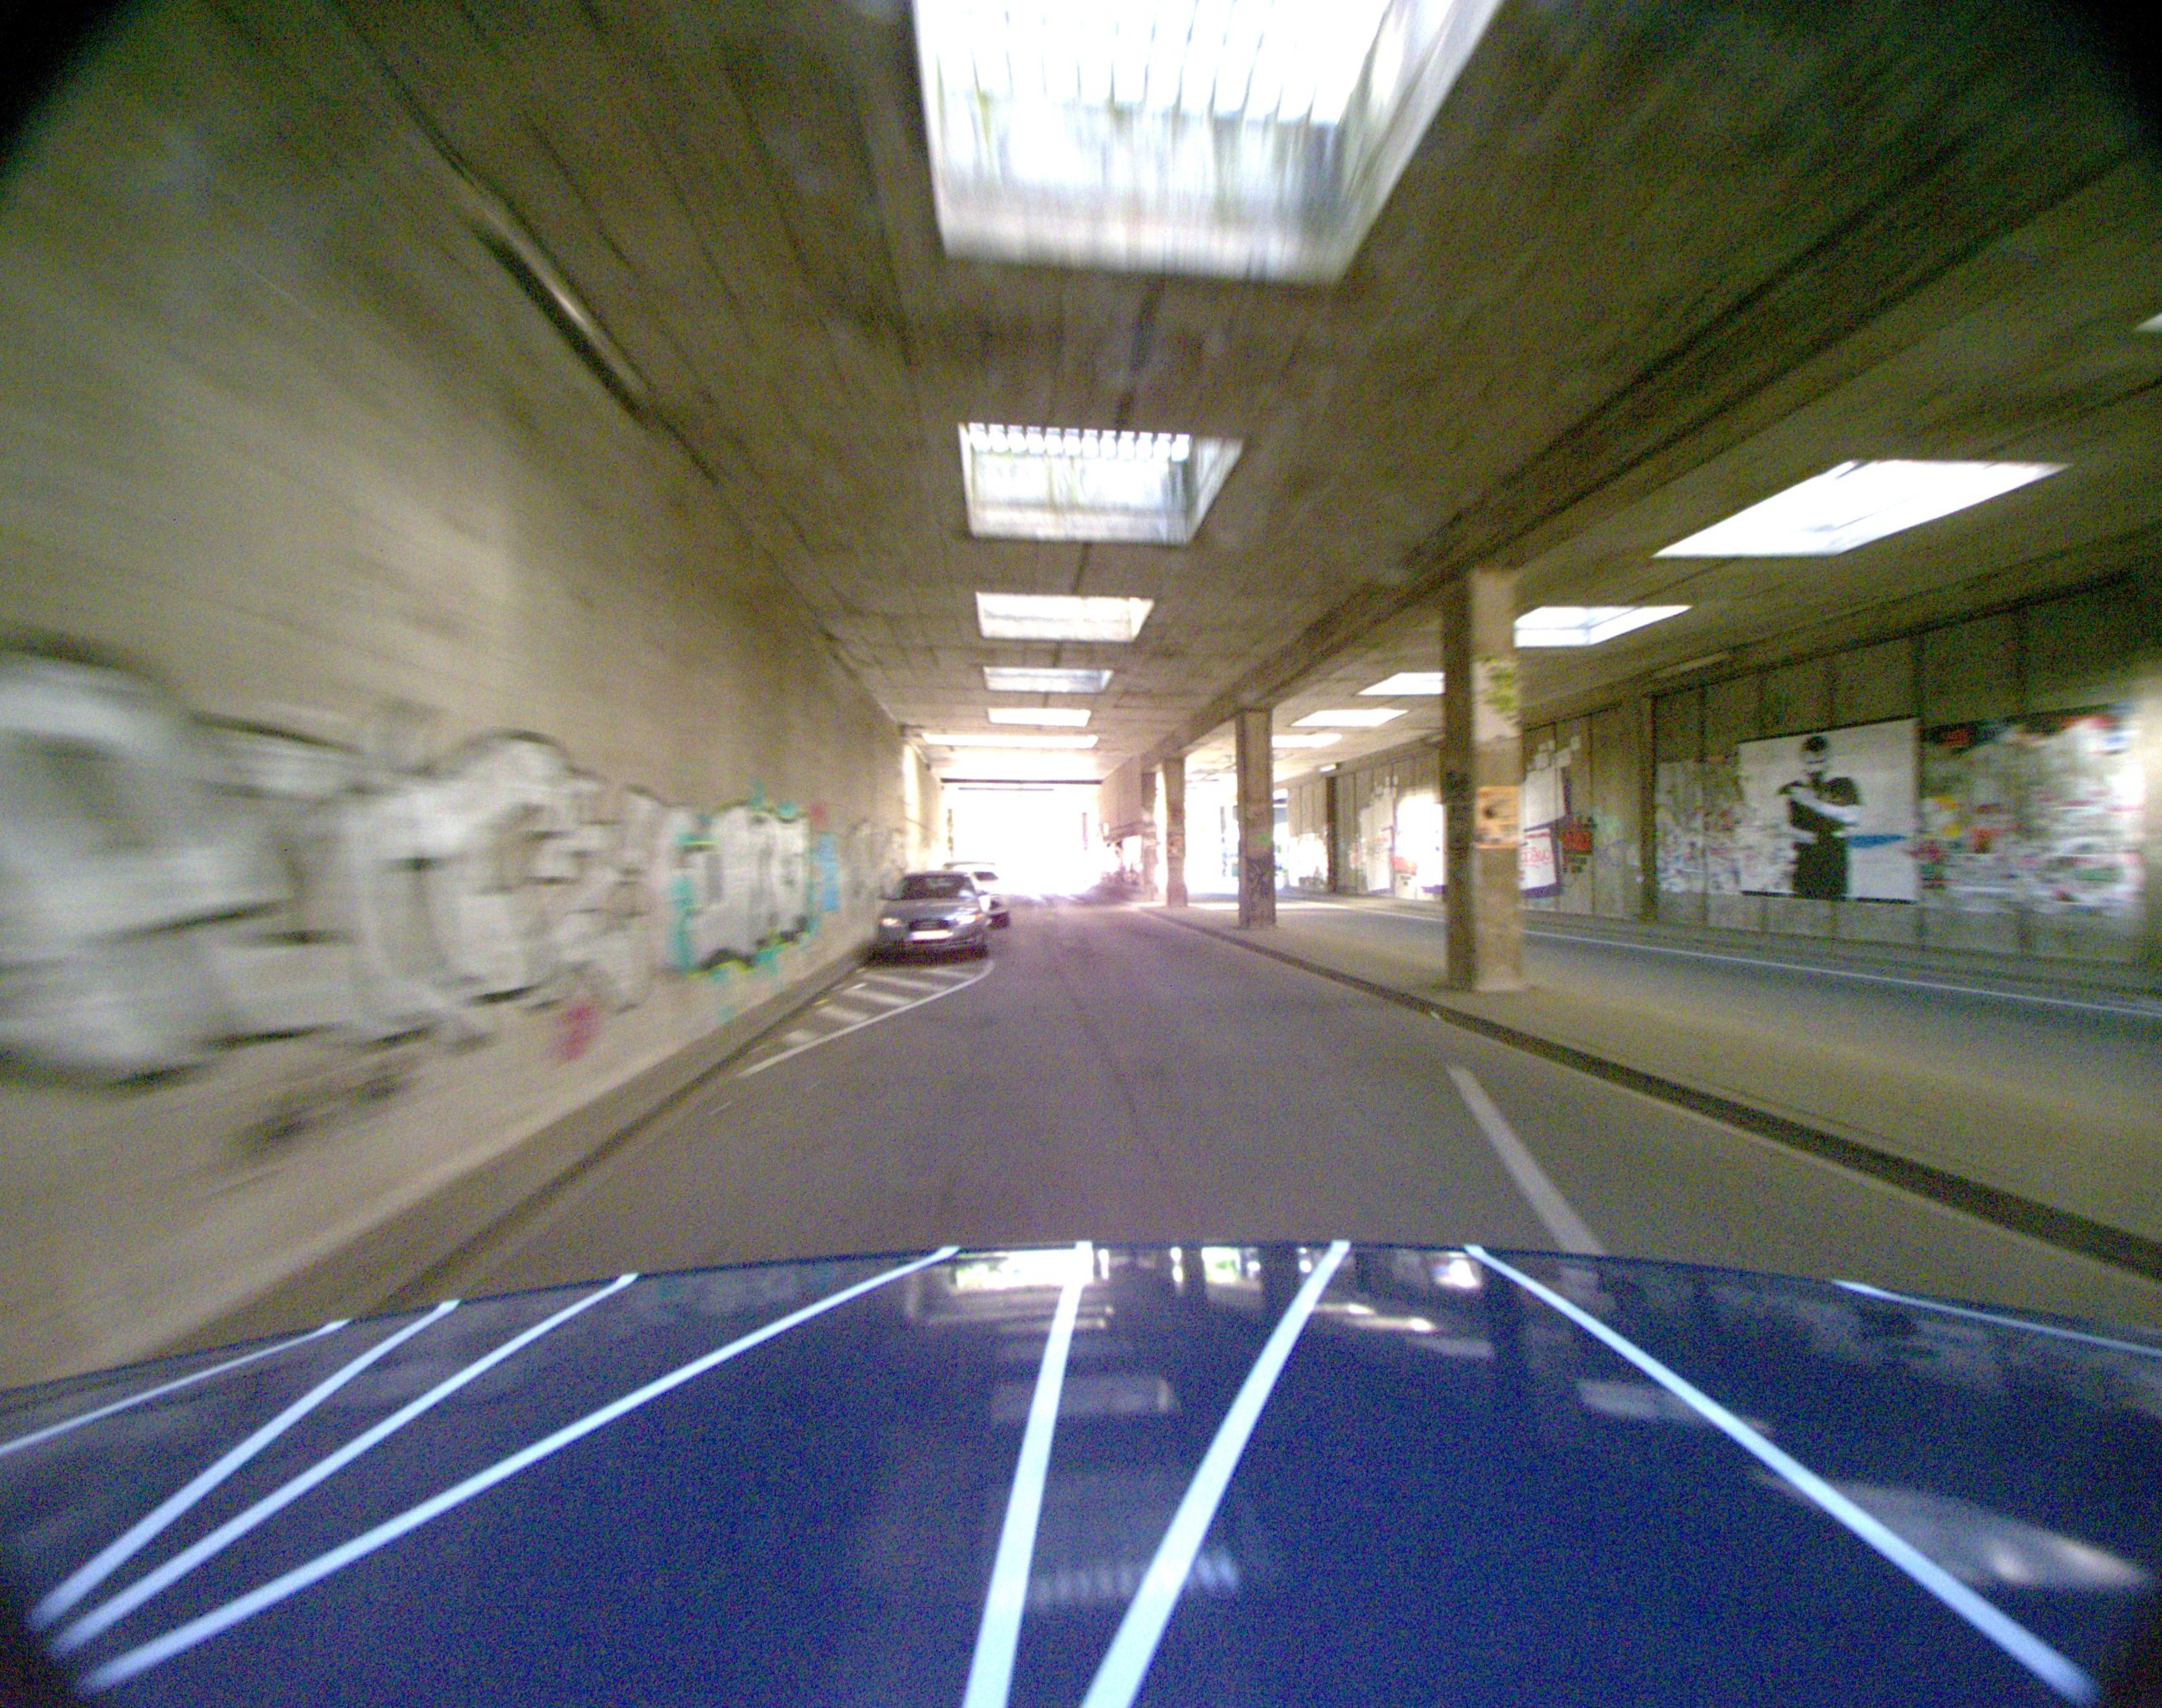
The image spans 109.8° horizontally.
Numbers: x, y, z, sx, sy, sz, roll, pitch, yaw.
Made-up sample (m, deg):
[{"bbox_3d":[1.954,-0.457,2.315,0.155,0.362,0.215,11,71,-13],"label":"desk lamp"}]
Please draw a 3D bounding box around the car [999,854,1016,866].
[{"bbox_3d":[-10.082,0.779,103.587,1.696,1.548,3.817,-2,0,-15],"label":"car"}]

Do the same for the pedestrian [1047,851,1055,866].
[{"bbox_3d":[-3.227,0.474,82.192,0.633,1.567,0.532,-1,1,19],"label":"pedestrian"}]

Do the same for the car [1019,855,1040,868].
[{"bbox_3d":[-5.940,0.864,87.017,1.693,1.454,3.994,-2,0,-15],"label":"car"}]

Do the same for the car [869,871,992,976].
[{"bbox_3d":[-2.464,1.066,13.358,1.706,1.366,4.371,-2,0,-6],"label":"car"}]

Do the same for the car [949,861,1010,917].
[{"bbox_3d":[-3.345,1.067,24.710,1.735,1.537,4.152,-2,1,-9],"label":"car"}]

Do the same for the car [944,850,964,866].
[{"bbox_3d":[-17.145,0.600,102.482,1.998,2.017,4.298,-2,-1,-17],"label":"car"}]

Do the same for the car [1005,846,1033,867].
[{"bbox_3d":[-7.622,0.333,92.689,2.222,2.437,5.087,-2,1,-17],"label":"car"}]

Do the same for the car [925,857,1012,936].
[{"bbox_3d":[-2.722,0.958,18.996,1.858,1.656,4.369,-2,0,-6],"label":"car"}]

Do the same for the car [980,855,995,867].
[{"bbox_3d":[-14.700,1.134,118.897,1.778,1.870,3.995,-2,0,-14],"label":"car"}]
